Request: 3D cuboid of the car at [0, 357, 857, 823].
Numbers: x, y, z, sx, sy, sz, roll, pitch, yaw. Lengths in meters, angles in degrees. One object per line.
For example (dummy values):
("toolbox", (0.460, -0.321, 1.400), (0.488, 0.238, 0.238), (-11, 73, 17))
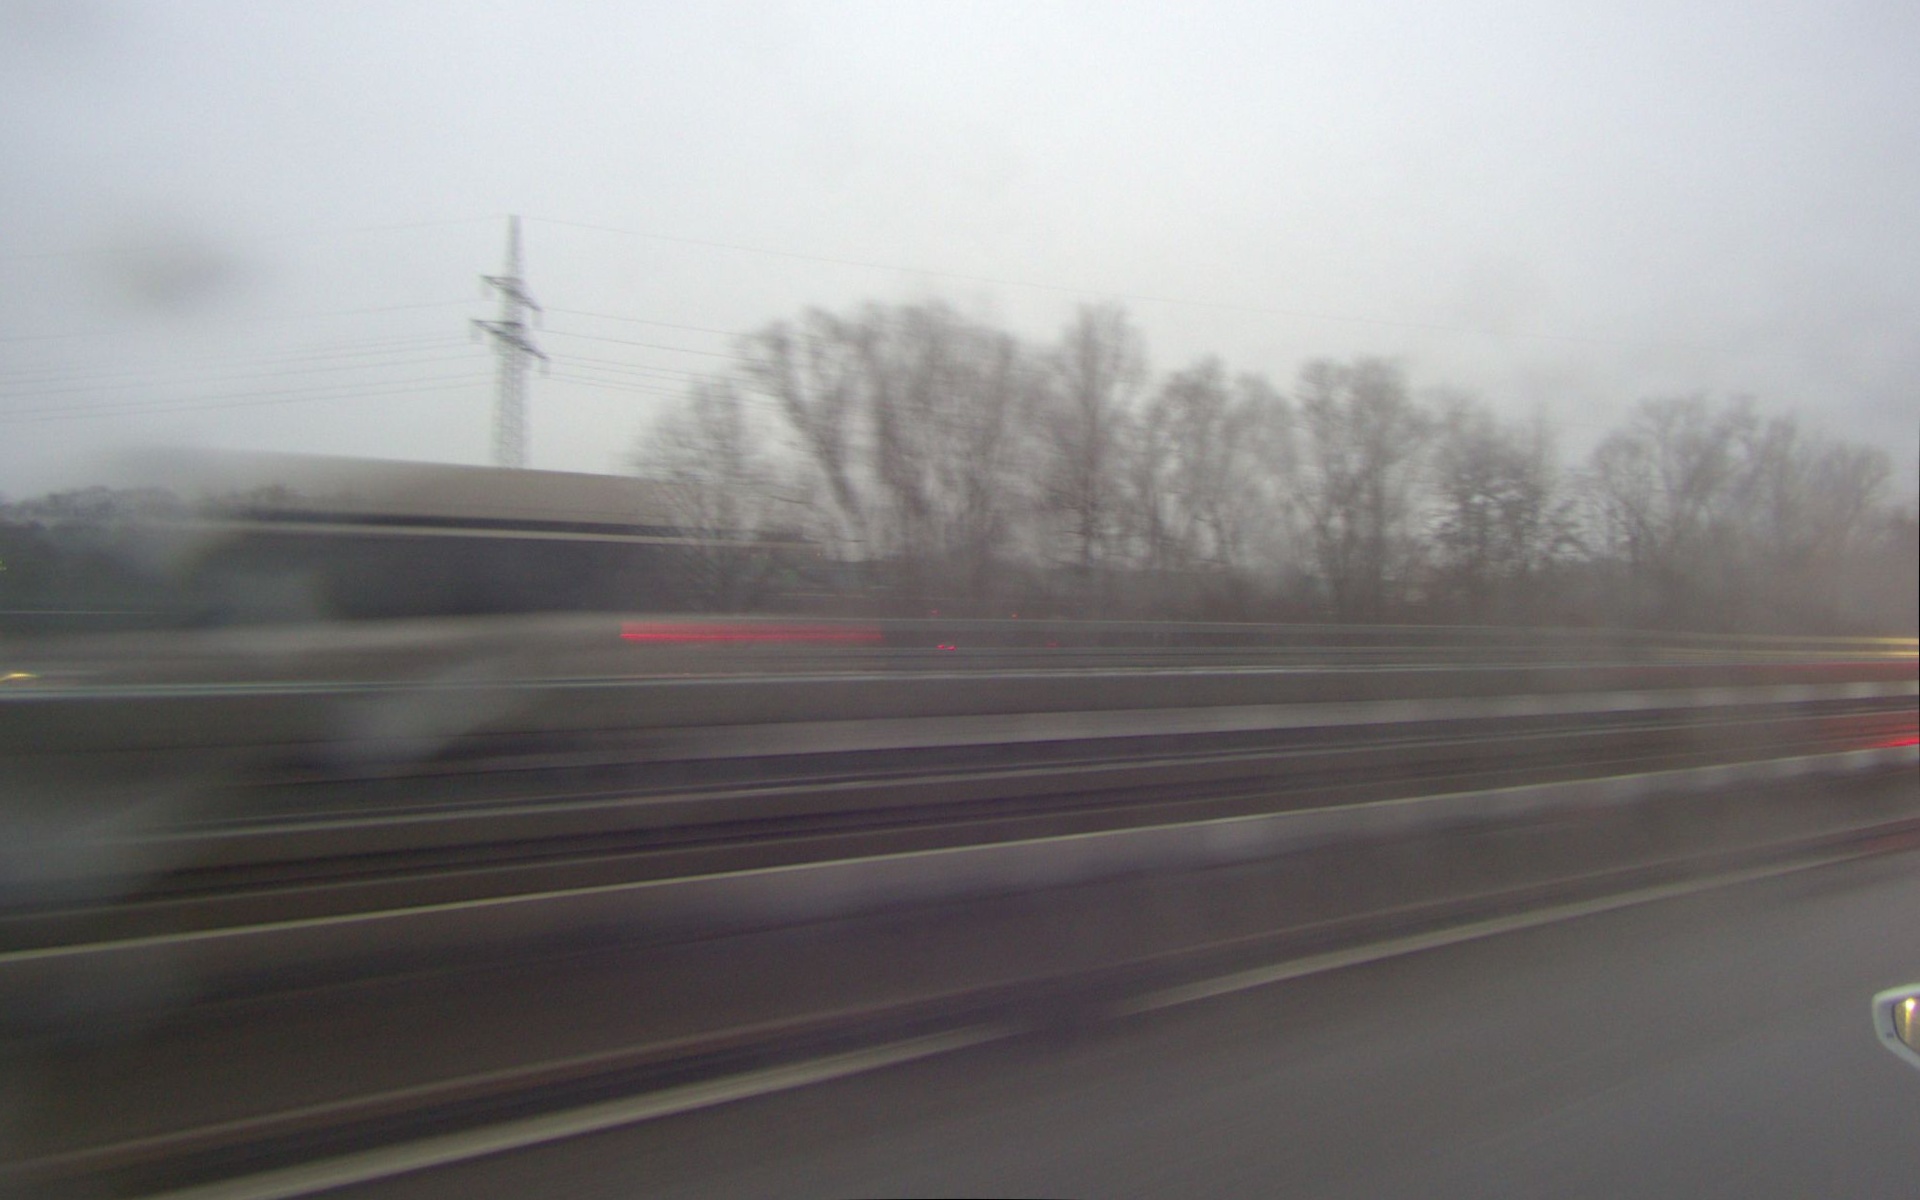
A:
("car", (-3.489, 0.011, 6.802), (5.144, 2.293, 2.041), (2, -1, -29))
